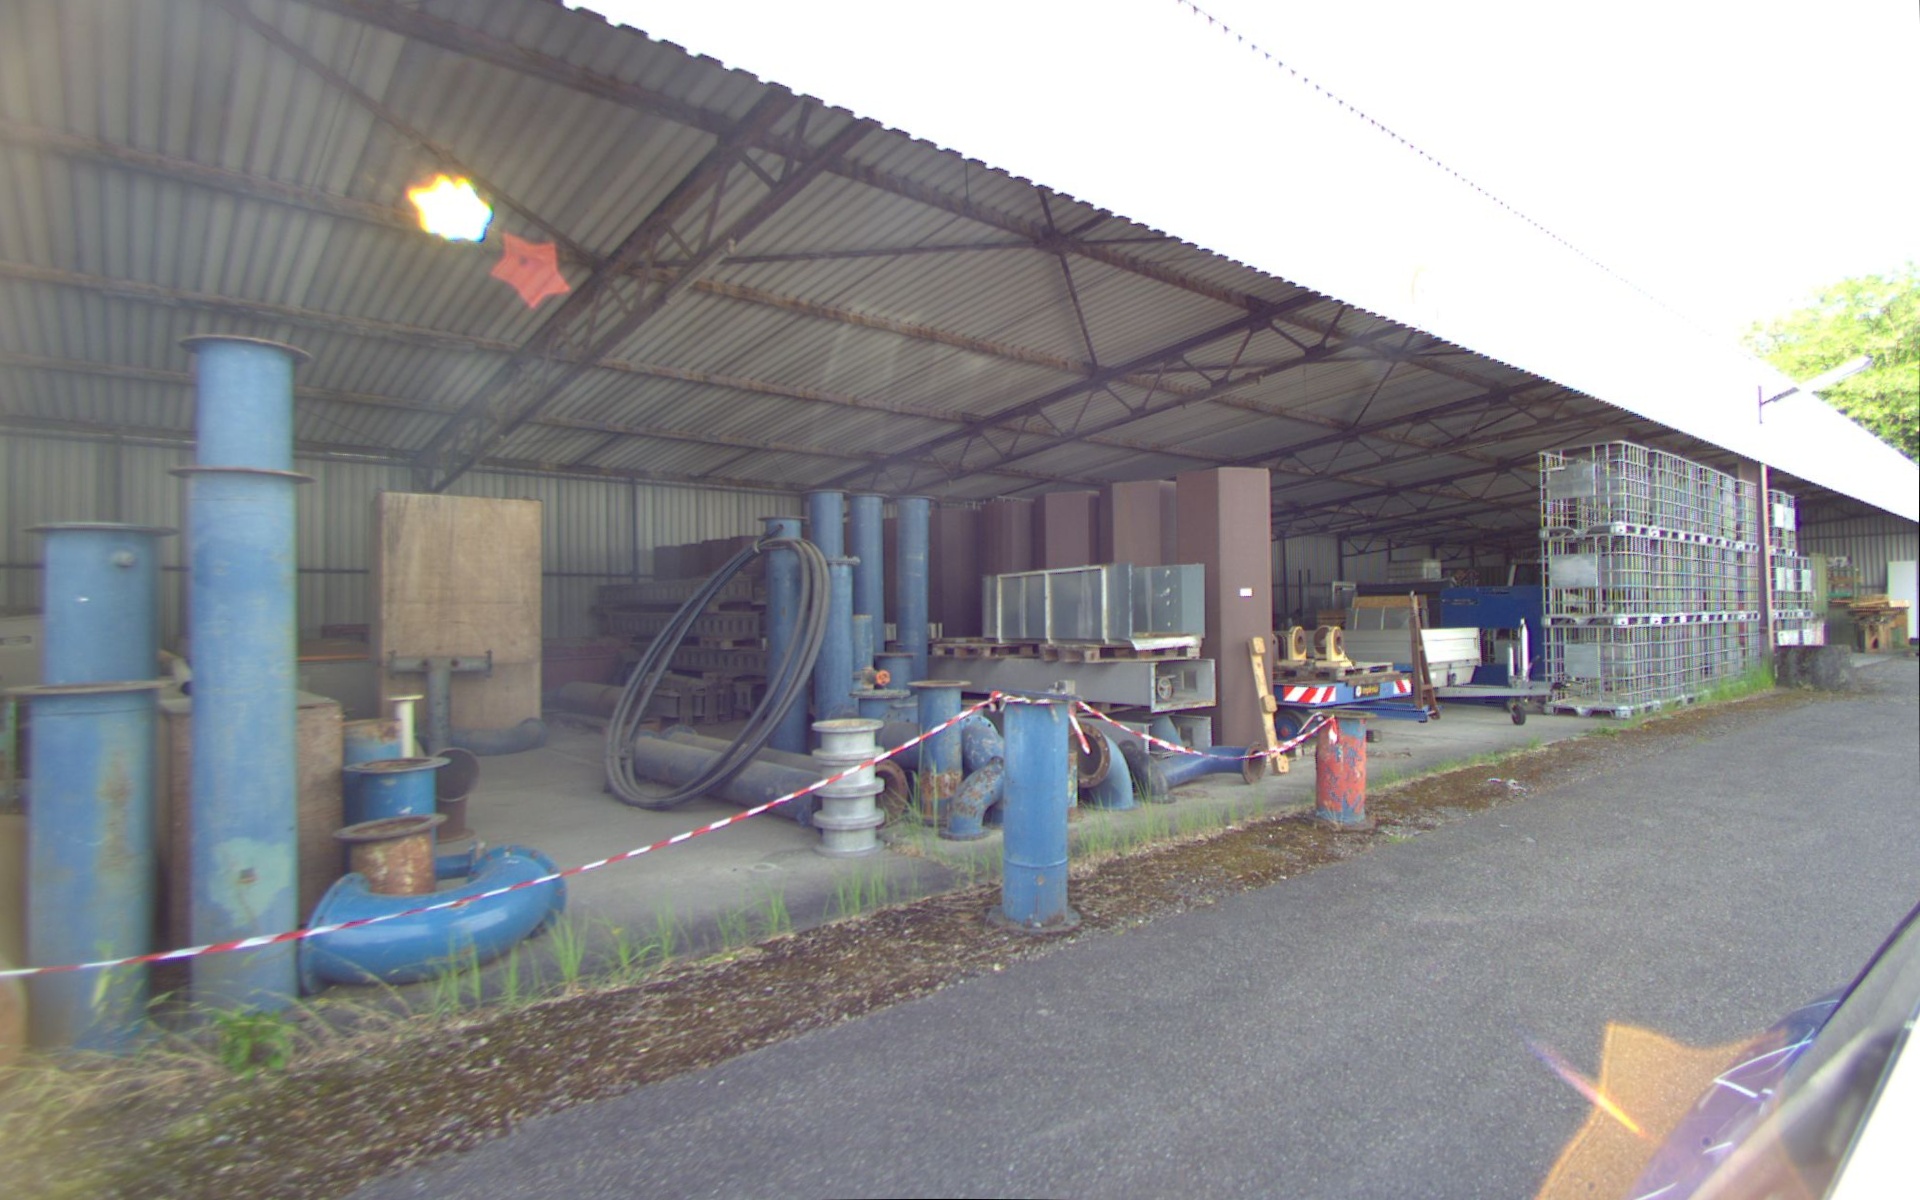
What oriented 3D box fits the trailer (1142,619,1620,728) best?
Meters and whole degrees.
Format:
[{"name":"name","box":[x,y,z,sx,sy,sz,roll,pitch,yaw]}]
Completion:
[{"name":"trailer","box":[5.373,0.872,13.787,1.974,1.147,5.742,0,-1,-41]}]

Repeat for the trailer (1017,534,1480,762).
[{"name":"trailer","box":[2.988,0.428,11.538,2.009,2.022,4.830,-1,0,-37]}]

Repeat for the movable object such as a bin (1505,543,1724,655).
[{"name":"movable object such as a bin","box":[17.548,0.005,27.319,1.965,2.757,4.621,2,-2,-41]}]
